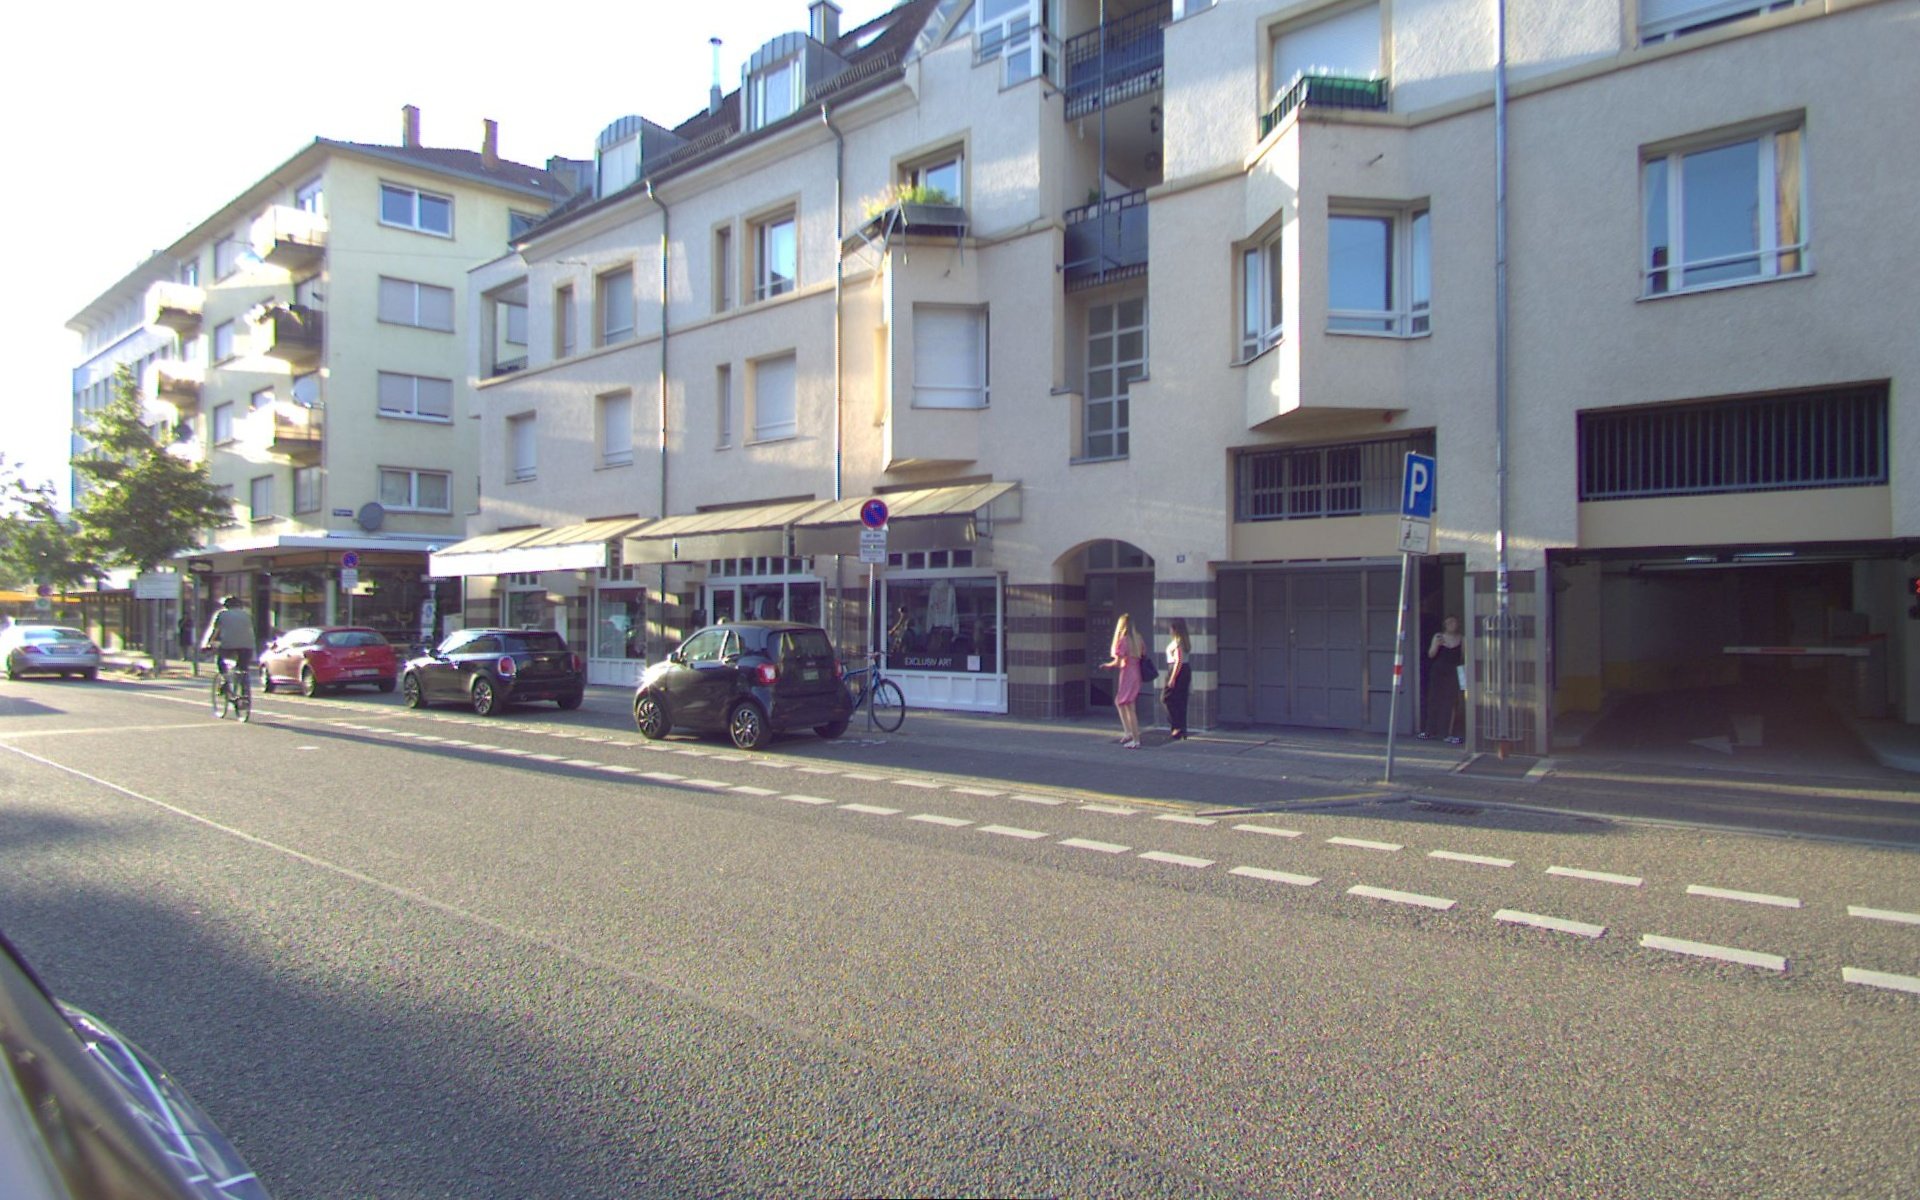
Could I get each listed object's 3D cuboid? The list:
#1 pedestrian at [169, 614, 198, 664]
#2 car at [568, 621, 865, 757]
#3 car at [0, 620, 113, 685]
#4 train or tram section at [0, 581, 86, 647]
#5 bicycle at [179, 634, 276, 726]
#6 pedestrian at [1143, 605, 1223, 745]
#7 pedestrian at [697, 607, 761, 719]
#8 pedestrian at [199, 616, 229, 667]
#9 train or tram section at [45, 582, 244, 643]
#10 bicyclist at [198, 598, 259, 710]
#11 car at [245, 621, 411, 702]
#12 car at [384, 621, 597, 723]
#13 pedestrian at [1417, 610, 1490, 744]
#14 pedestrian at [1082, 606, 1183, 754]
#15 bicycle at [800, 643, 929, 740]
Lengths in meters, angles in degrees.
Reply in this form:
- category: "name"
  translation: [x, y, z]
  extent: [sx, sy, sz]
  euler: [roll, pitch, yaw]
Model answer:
- category: "pedestrian"
  translation: [-28.759, 1.435, 37.465]
  extent: [0.666, 1.805, 0.711]
  euler: [-1, -1, 39]
- category: "car"
  translation: [-3.369, 1.084, 13.732]
  extent: [3.959, 1.592, 1.773]
  euler: [-1, -2, 36]
- category: "car"
  translation: [-24.707, 1.379, 27.215]
  extent: [4.397, 1.617, 1.975]
  euler: [-1, -3, 37]
- category: "train or tram section"
  translation: [-57.528, 0.831, 58.256]
  extent: [3.110, 3.839, 11.815]
  euler: [-1, 0, 8]
- category: "bicycle"
  translation: [-10.836, 1.151, 14.944]
  extent: [2.129, 1.252, 0.656]
  euler: [-1, -4, 41]
- category: "pedestrian"
  translation: [2.841, 0.928, 12.876]
  extent: [0.830, 1.713, 0.554]
  euler: [-1, -2, 38]
- category: "pedestrian"
  translation: [-3.725, 0.996, 16.344]
  extent: [0.737, 1.747, 0.711]
  euler: [-1, -1, 38]
- category: "pedestrian"
  translation: [-26.889, 1.483, 36.493]
  extent: [0.666, 1.805, 0.711]
  euler: [-1, -1, 39]
- category: "train or tram section"
  translation: [-55.899, 0.817, 70.070]
  extent: [3.110, 3.839, 11.815]
  euler: [-1, 0, 8]
- category: "bicyclist"
  translation: [-10.728, 0.772, 14.835]
  extent: [0.802, 1.593, 0.541]
  euler: [-1, -2, 41]
- category: "car"
  translation: [-13.740, 1.269, 21.966]
  extent: [3.780, 1.592, 1.773]
  euler: [-1, -2, 36]
- category: "car"
  translation: [-8.276, 1.178, 17.752]
  extent: [3.780, 1.592, 1.773]
  euler: [-1, -2, 36]
- category: "pedestrian"
  translation: [6.077, 0.924, 12.461]
  extent: [0.775, 1.584, 0.528]
  euler: [-1, -2, 29]
- category: "pedestrian"
  translation: [2.096, 0.940, 12.337]
  extent: [1.039, 1.713, 0.624]
  euler: [-1, -2, 38]
- category: "bicycle"
  translation: [-1.342, 1.222, 13.974]
  extent: [1.976, 1.215, 0.552]
  euler: [-1, -2, 41]
